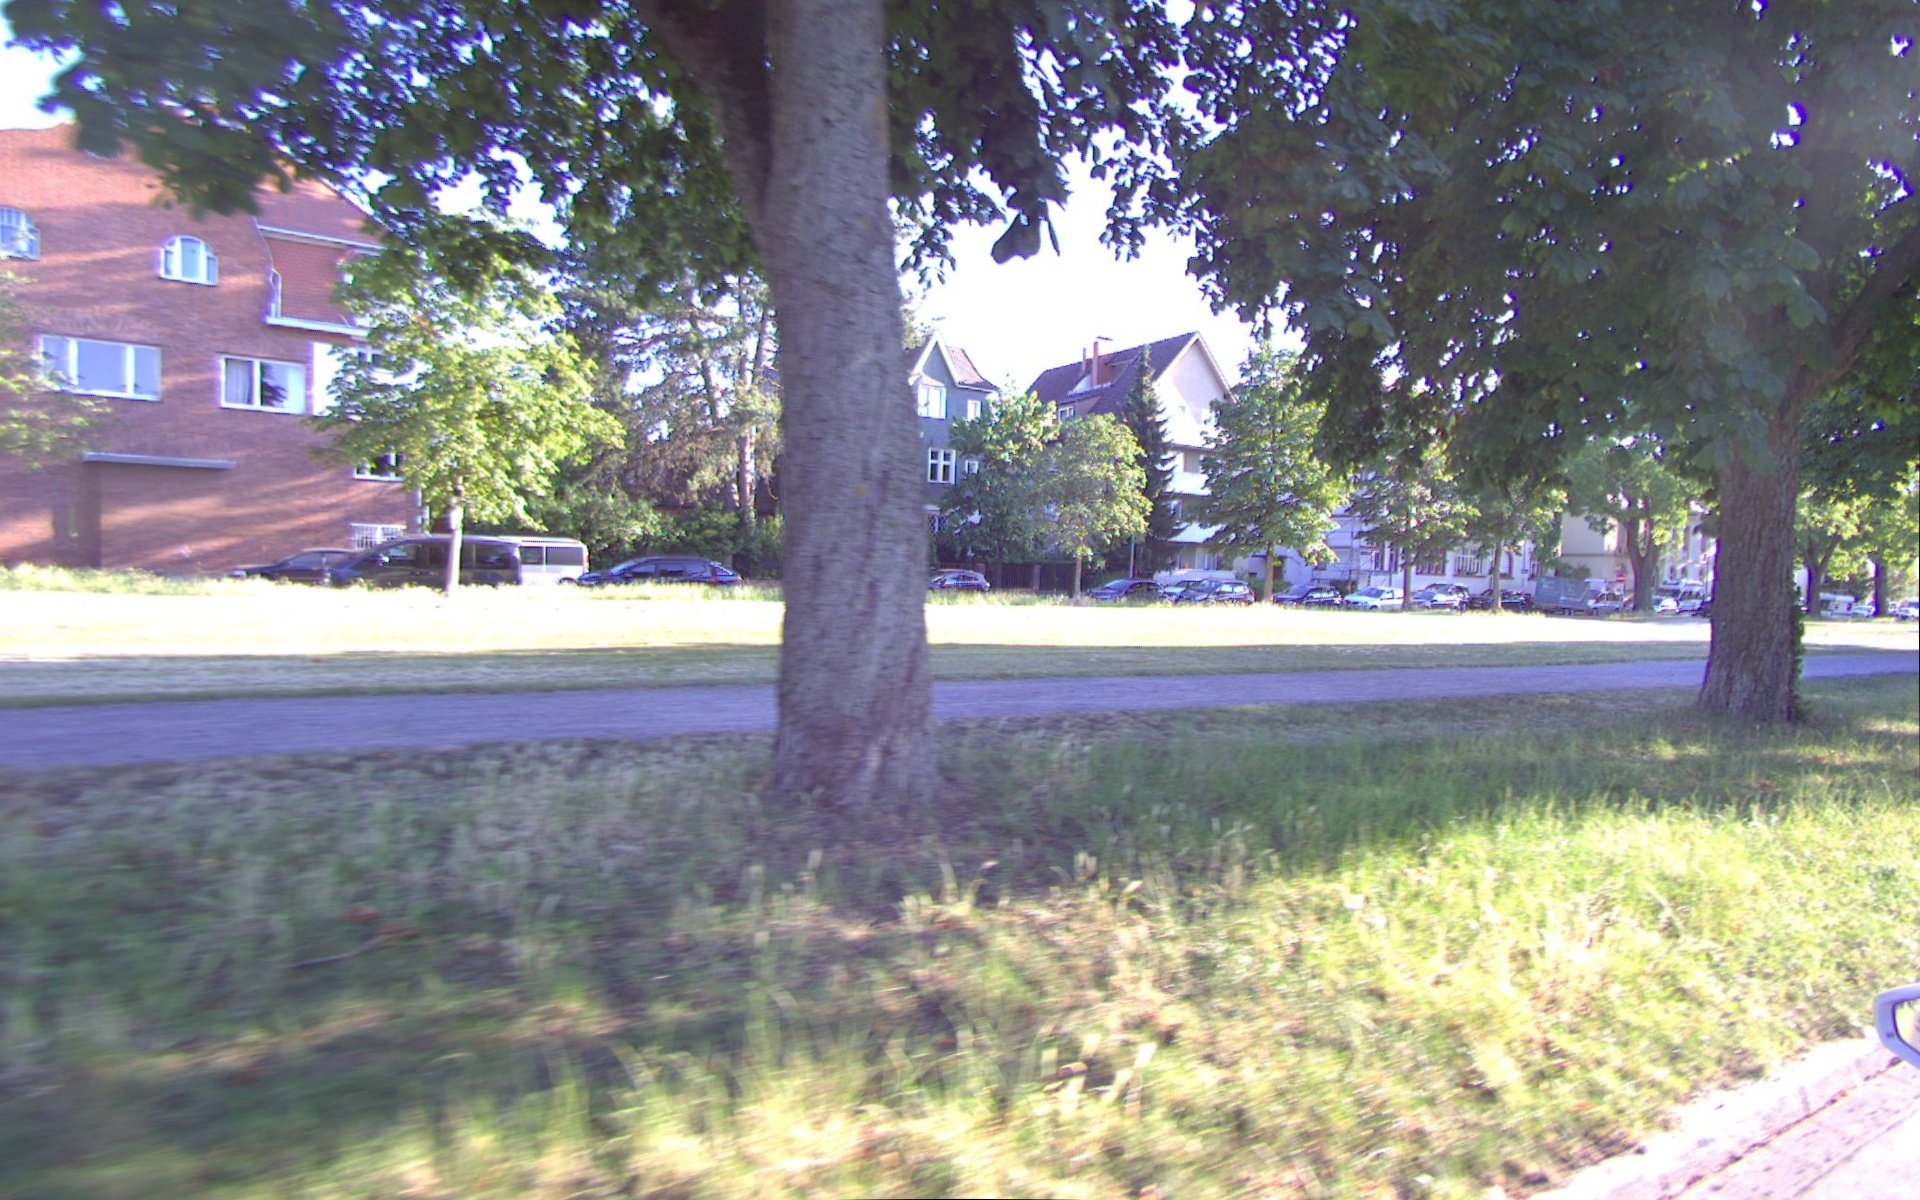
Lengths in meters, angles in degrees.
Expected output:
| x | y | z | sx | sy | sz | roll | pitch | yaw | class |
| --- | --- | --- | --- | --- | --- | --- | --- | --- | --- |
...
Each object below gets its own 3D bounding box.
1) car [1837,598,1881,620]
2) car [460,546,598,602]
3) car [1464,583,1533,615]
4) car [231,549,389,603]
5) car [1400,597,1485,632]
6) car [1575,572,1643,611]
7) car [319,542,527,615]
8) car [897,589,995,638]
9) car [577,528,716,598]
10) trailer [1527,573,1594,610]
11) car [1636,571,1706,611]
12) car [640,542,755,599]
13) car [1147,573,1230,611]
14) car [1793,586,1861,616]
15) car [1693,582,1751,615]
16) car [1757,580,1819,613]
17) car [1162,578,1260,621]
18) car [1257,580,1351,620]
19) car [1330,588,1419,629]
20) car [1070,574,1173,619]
| x | y | z | sx | sy | sz | roll | pitch | yaw | class |
| --- | --- | --- | --- | --- | --- | --- | --- | --- | --- |
| 89.237 | 0.869 | 99.721 | 4.433 | 2.040 | 1.983 | 2 | 0 | -31 | car |
| -15.397 | -0.932 | 35.930 | 4.356 | 1.862 | 1.807 | 1 | 2 | -30 | car |
| 36.337 | -0.064 | 67.760 | 4.698 | 1.979 | 1.982 | 1 | 2 | -32 | car |
| -21.214 | -0.792 | 33.022 | 4.254 | 1.645 | 1.748 | 1 | 2 | -30 | car |
| 25.950 | 0.781 | 54.005 | 4.204 | 1.671 | 1.984 | 2 | 2 | -30 | car |
| 47.981 | -0.630 | 74.244 | 5.126 | 2.708 | 1.984 | 1 | 2 | -30 | car |
| -15.579 | -0.616 | 29.344 | 5.183 | 1.967 | 1.984 | 1 | 2 | -30 | car |
| -0.647 | 0.621 | 45.535 | 3.948 | 2.041 | 1.986 | 1 | 3 | -27 | car |
| -10.177 | -1.193 | 32.669 | 3.953 | 2.041 | 1.983 | 1 | 3 | -31 | car |
| 42.574 | -0.606 | 71.173 | 4.668 | 2.461 | 1.984 | 1 | 2 | -30 | trailer |
| 56.536 | -0.675 | 79.838 | 5.751 | 2.961 | 2.425 | 2 | 0 | -31 | car |
| -10.233 | -1.135 | 39.205 | 3.951 | 2.041 | 1.984 | 1 | 3 | -29 | car |
| 12.003 | -0.418 | 52.662 | 3.957 | 1.807 | 1.982 | 2 | 3 | -33 | car |
| 69.947 | 0.055 | 81.010 | 5.395 | 2.266 | 2.522 | 1 | 2 | -30 | car |
| 54.240 | -0.100 | 71.466 | 4.263 | 2.205 | 1.676 | 1 | 2 | -30 | car |
| 63.613 | -0.264 | 77.124 | 5.127 | 2.280 | 1.983 | 1 | 2 | -31 | car |
| 11.379 | -0.010 | 45.546 | 3.951 | 1.706 | 1.985 | 2 | 2 | -28 | car |
| 16.682 | -0.002 | 48.684 | 4.204 | 1.744 | 1.984 | 2 | 2 | -30 | car |
| 21.303 | 0.434 | 51.578 | 4.204 | 1.885 | 1.984 | 2 | 2 | -30 | car |
| 6.938 | -0.153 | 43.113 | 3.951 | 1.706 | 1.985 | 2 | 2 | -28 | car |
